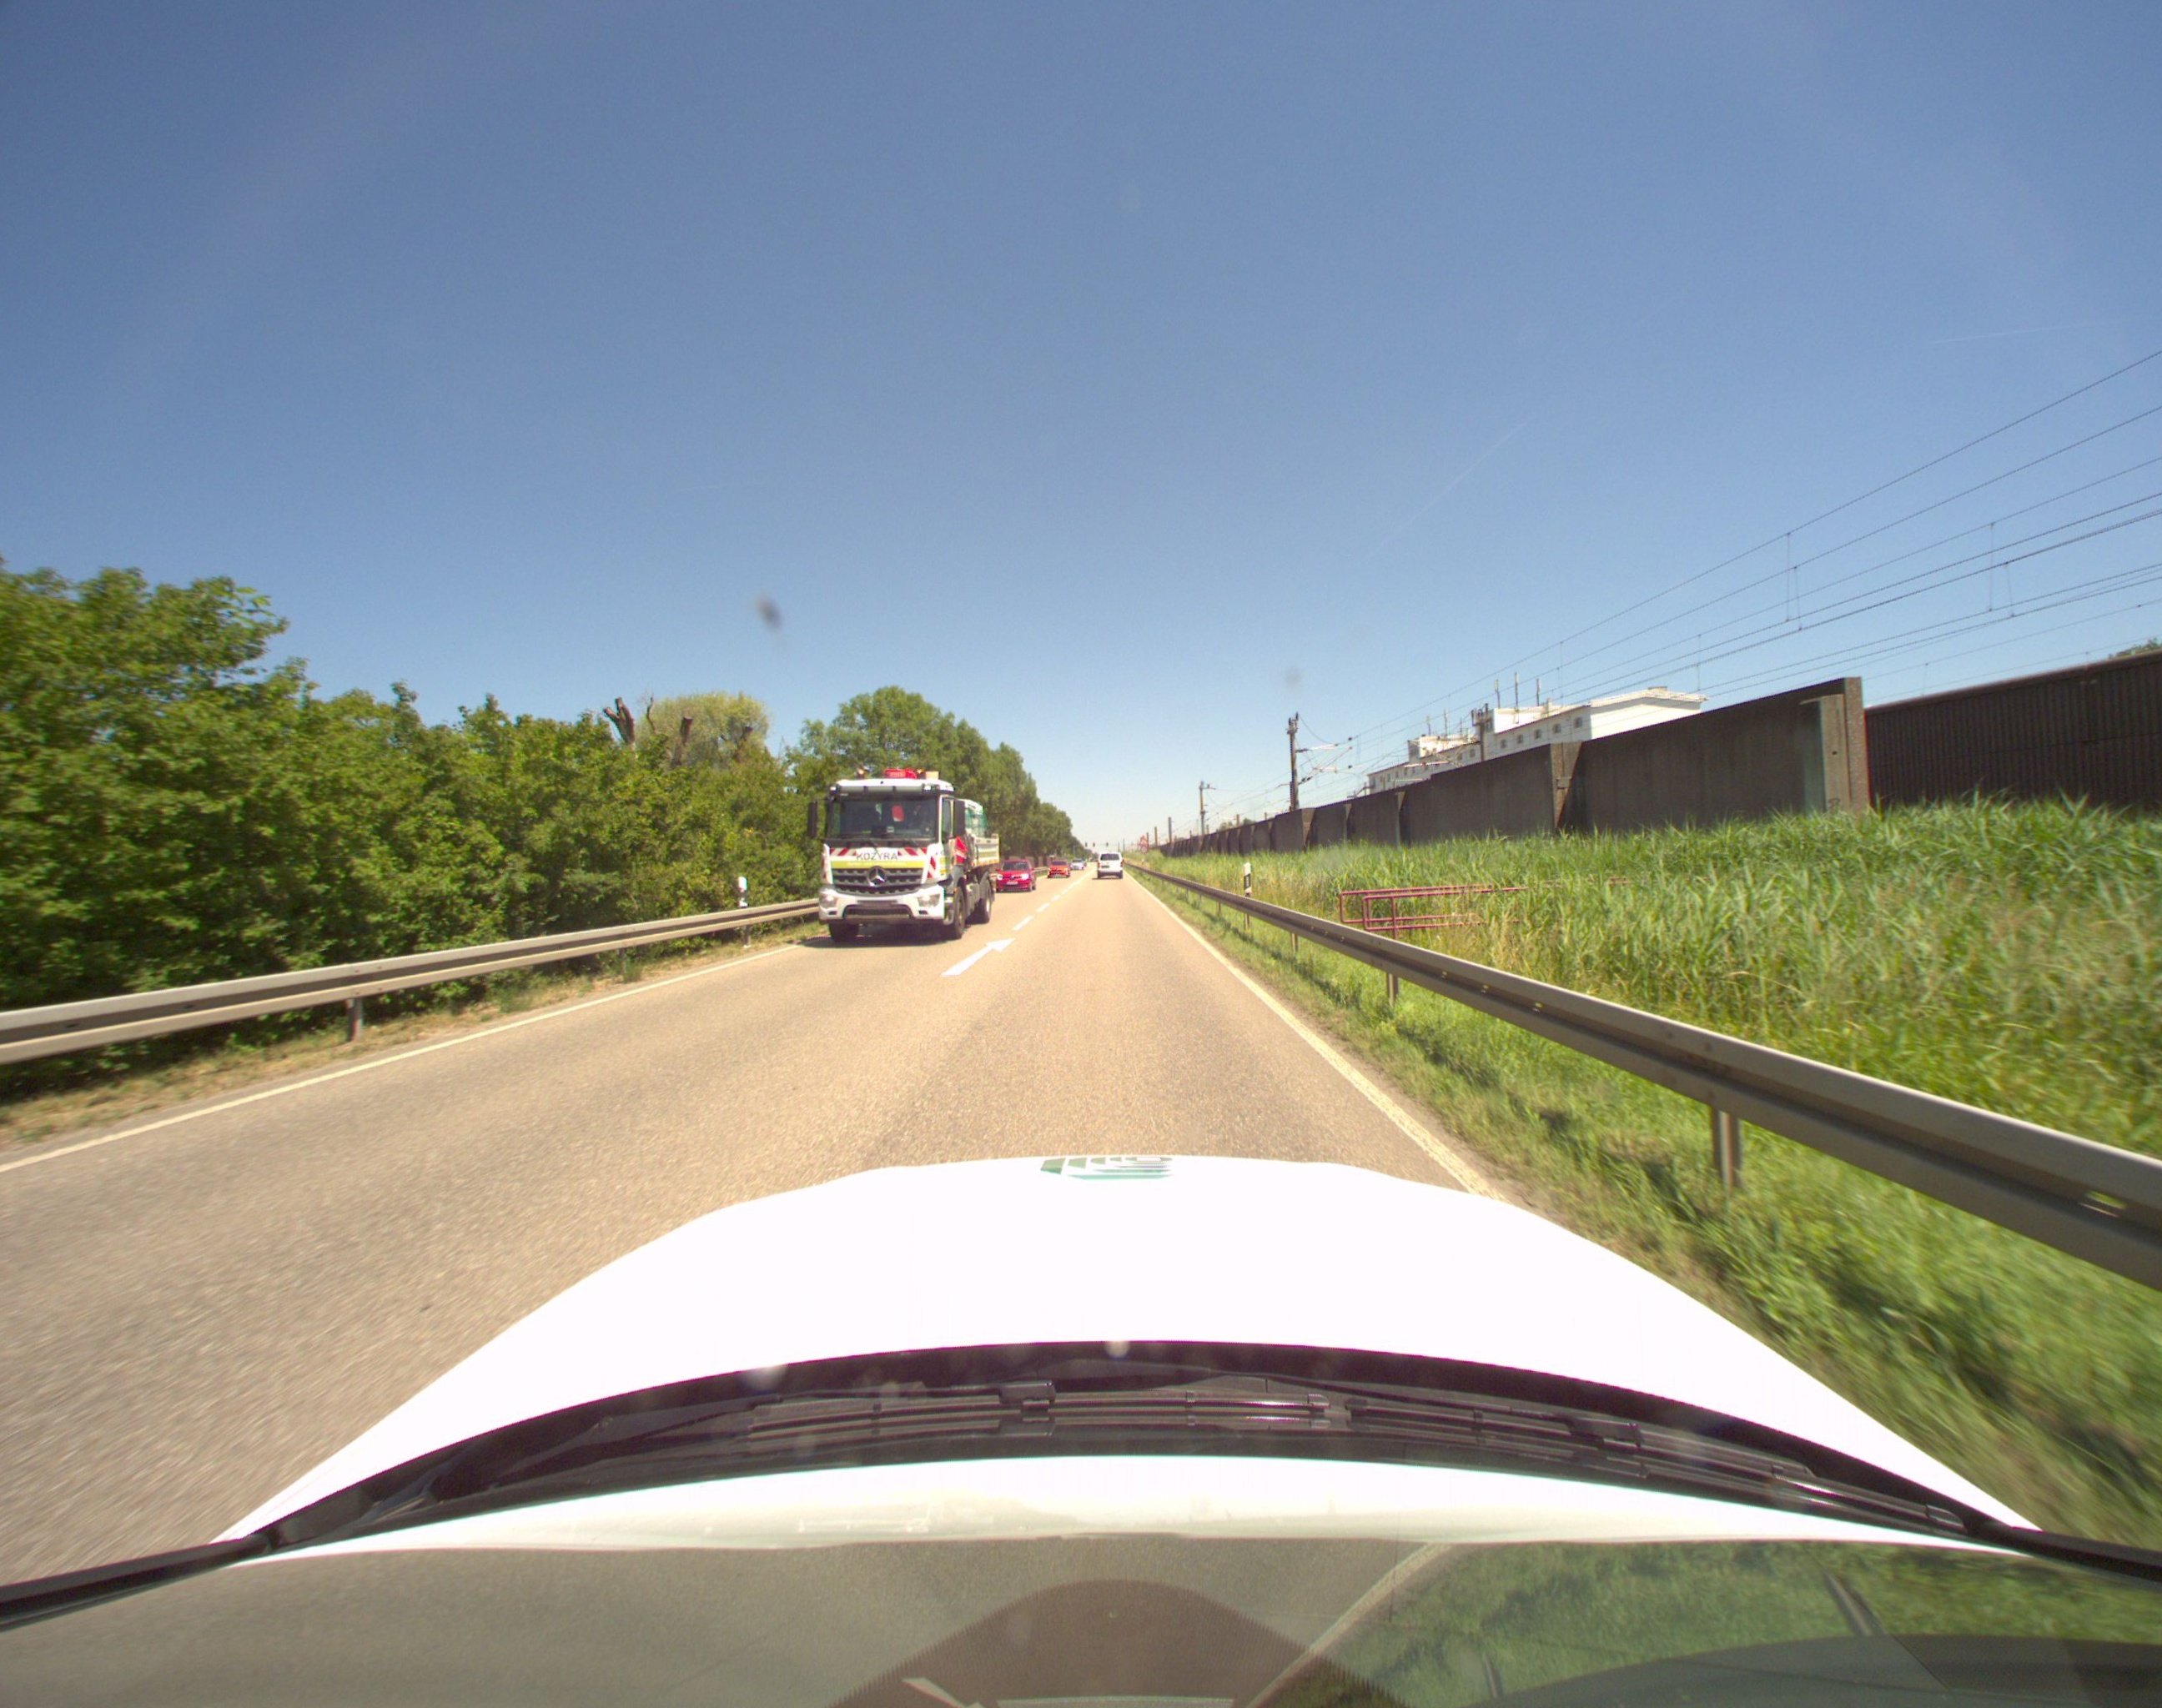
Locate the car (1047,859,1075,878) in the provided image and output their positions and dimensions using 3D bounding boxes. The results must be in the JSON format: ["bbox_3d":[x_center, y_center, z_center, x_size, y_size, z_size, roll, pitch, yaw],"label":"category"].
[{"bbox_3d":[-1.591,1.183,66.251,1.781,1.421,4.006,-1,0,5],"label":"car"}]

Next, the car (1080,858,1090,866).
[{"bbox_3d":[0.744,1.467,155.223,1.783,1.525,4.391,-1,0,1],"label":"car"}]

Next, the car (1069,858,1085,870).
[{"bbox_3d":[-0.522,1.327,108.150,1.782,1.525,4.392,-1,0,2],"label":"car"}]

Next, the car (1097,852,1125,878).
[{"bbox_3d":[2.189,0.761,59.592,1.986,1.850,4.002,0,0,2],"label":"car"}]

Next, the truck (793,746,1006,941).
[{"bbox_3d":[-3.570,-0.176,18.320,2.773,3.405,7.991,0,0,2],"label":"truck"}]

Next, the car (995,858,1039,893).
[{"bbox_3d":[-3.018,0.979,39.252,1.647,1.552,4.001,-1,0,1],"label":"car"}]
